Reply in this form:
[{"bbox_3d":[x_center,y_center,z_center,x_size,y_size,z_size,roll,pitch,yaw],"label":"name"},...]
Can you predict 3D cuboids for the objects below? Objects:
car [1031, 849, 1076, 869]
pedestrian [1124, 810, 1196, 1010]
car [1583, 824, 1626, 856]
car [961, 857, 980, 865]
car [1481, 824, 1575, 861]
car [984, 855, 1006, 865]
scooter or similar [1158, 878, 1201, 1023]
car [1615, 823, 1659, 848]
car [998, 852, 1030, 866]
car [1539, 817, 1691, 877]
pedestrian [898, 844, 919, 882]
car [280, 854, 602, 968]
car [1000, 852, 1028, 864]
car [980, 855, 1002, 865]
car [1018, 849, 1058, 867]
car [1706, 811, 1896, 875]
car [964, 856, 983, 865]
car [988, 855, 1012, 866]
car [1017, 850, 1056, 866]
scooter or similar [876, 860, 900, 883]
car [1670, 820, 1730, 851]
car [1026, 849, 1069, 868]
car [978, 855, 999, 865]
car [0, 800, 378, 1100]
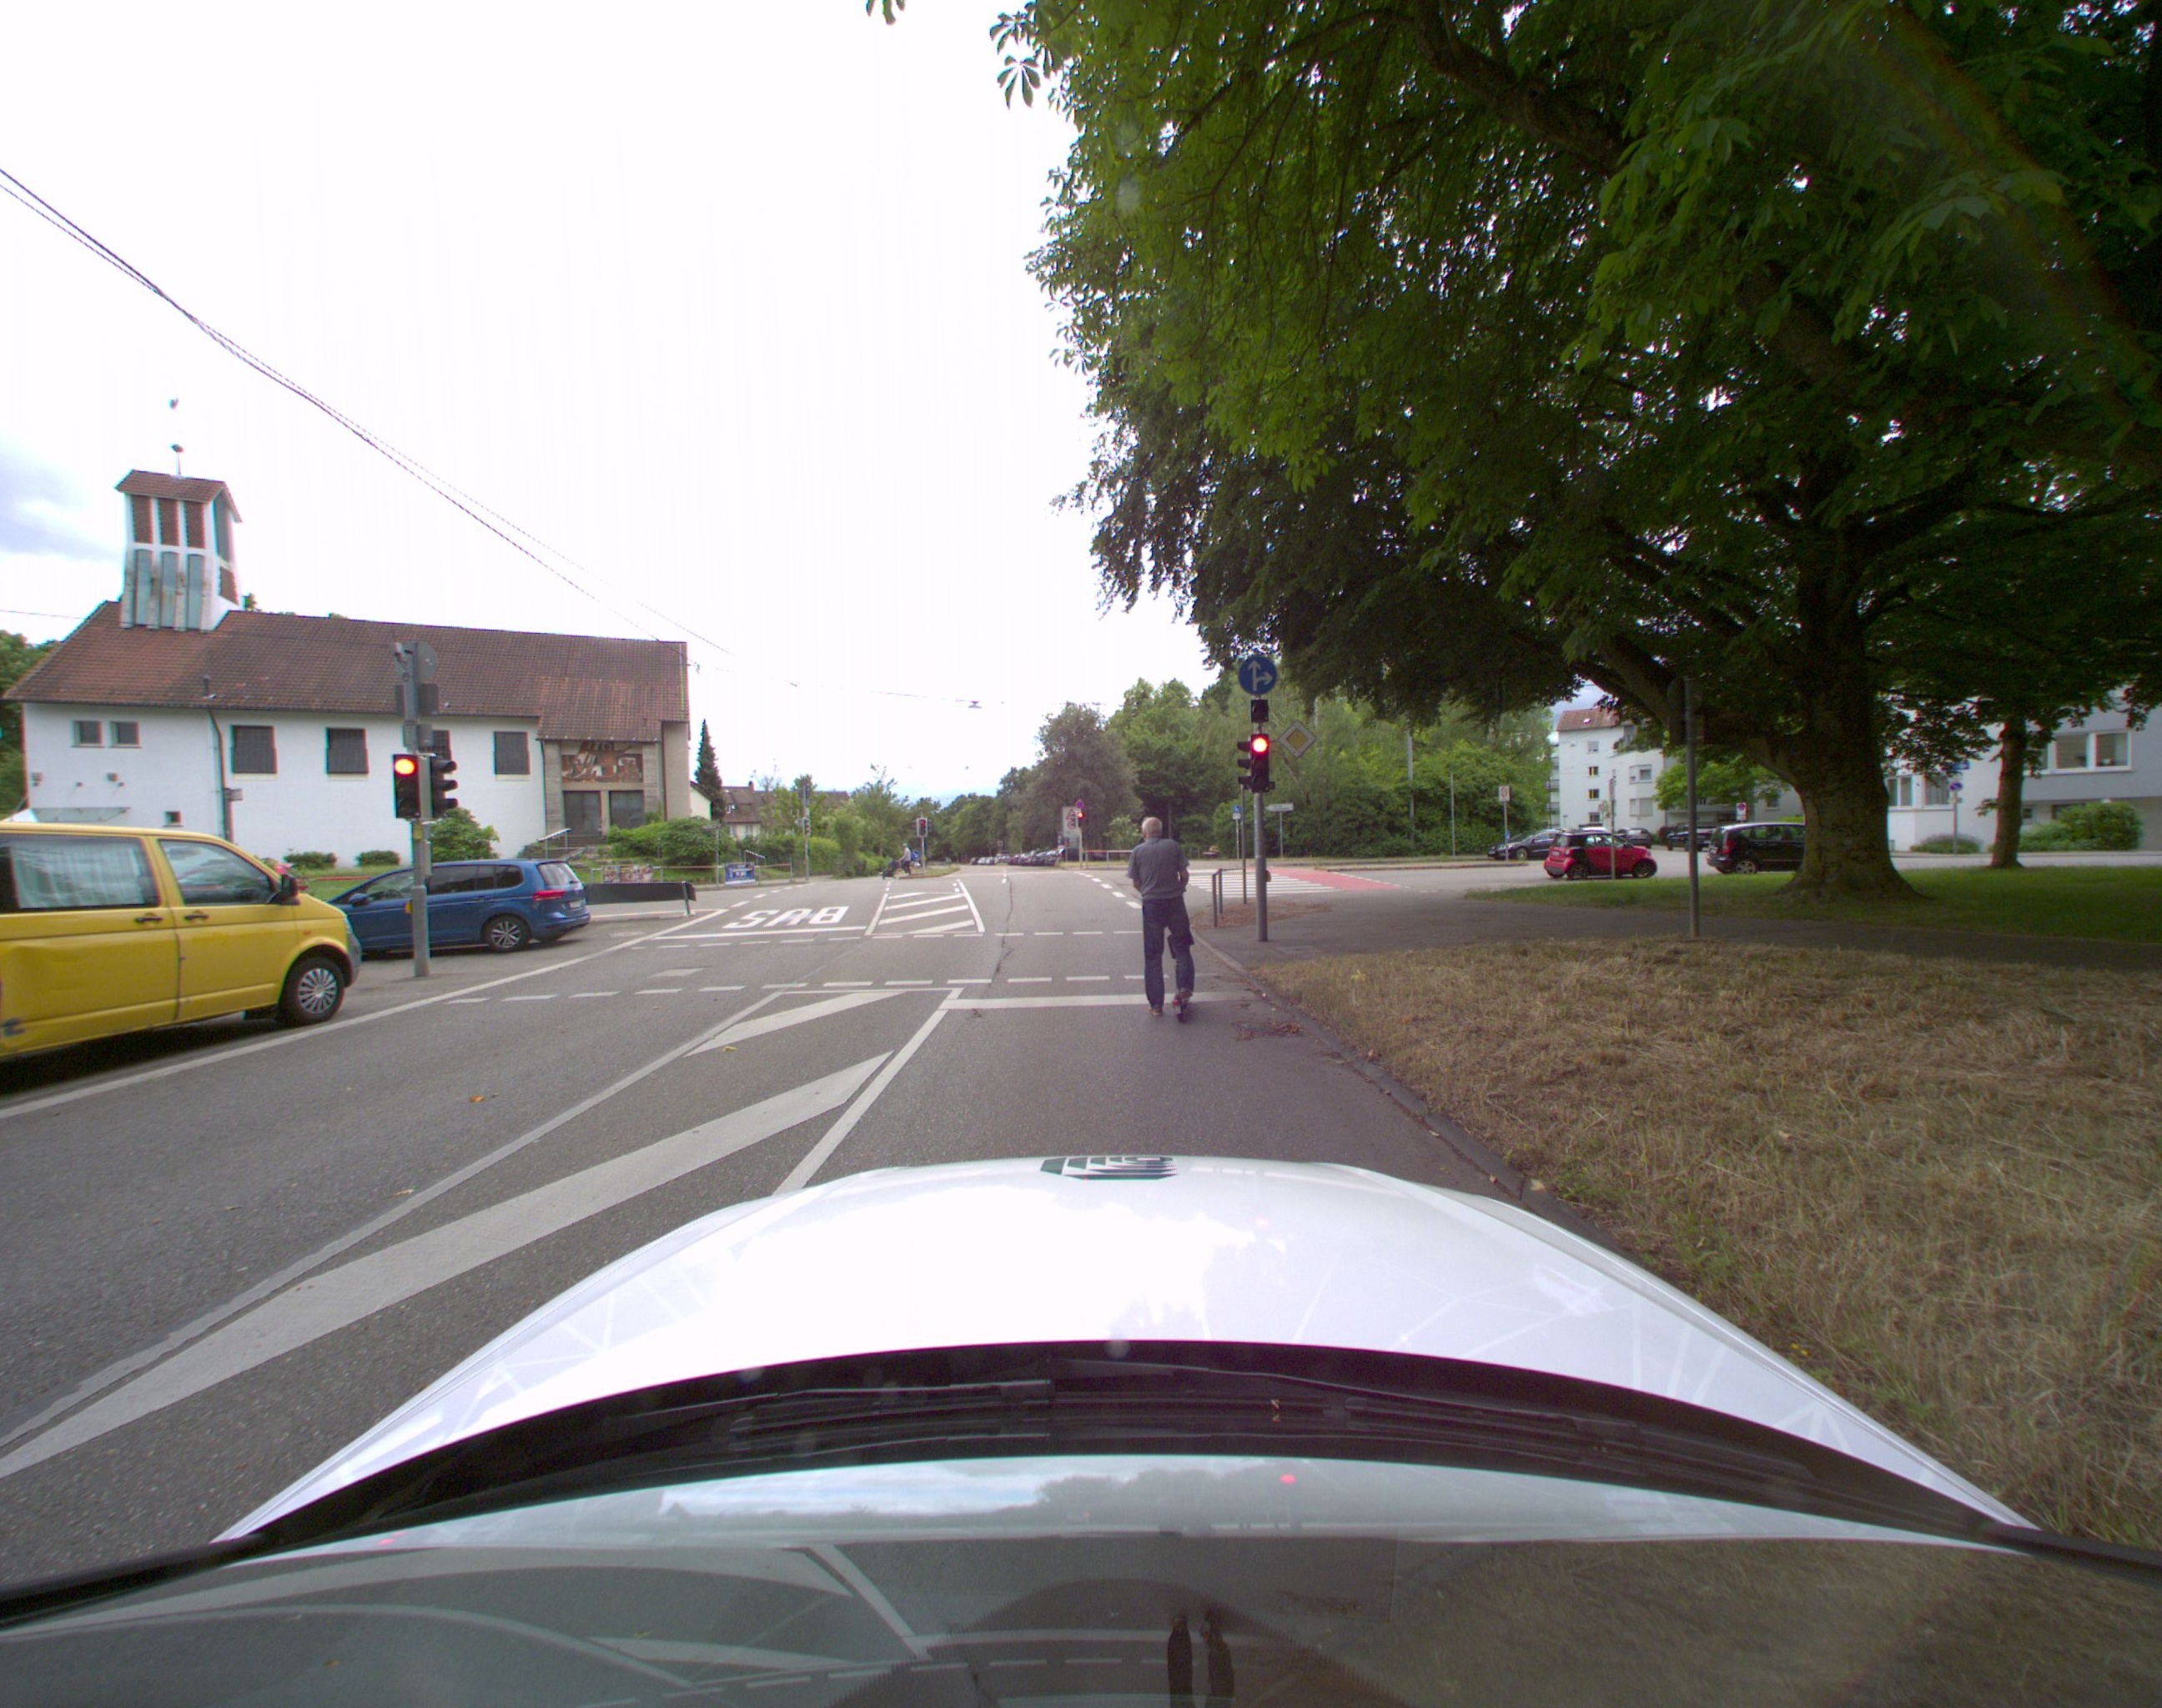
[{"bbox_3d":[-2.579,0.460,76.995,3.857,1.610,1.715,-3,0,-22],"label":"car"},{"bbox_3d":[0.750,0.515,7.661,0.569,1.813,0.421,-2,0,10],"label":"pedestrian"},{"bbox_3d":[28.793,-0.792,44.878,1.706,1.610,3.878,-3,1,30],"label":"car"},{"bbox_3d":[-24.206,1.541,178.799,3.856,1.610,1.716,-3,0,-21],"label":"car"},{"bbox_3d":[21.117,-0.564,38.587,3.498,1.530,1.732,-3,0,8],"label":"car"},{"bbox_3d":[-16.324,1.173,154.691,3.856,1.610,1.716,-3,0,-21],"label":"car"},{"bbox_3d":[0.920,0.835,7.482,0.280,1.178,1.180,-2,0,10],"label":"scooter or similar"},{"bbox_3d":[38.963,-1.279,57.121,1.707,1.610,3.875,-3,1,22],"label":"car"},{"bbox_3d":[-9.035,0.681,109.340,3.856,1.610,1.716,-3,0,-21],"label":"car"},{"bbox_3d":[16.529,-0.213,25.344,3.499,1.610,1.732,-3,0,7],"label":"car"},{"bbox_3d":[-8.766,0.459,41.378,0.883,1.862,0.573,-2,0,-6],"label":"pedestrian"},{"bbox_3d":[-11.062,0.910,14.415,3.992,1.610,1.810,-3,0,-14],"label":"car"},{"bbox_3d":[-10.107,0.634,122.344,3.856,1.610,1.716,-3,0,-21],"label":"car"},{"bbox_3d":[-17.301,1.136,156.850,3.856,1.610,1.716,-3,0,-21],"label":"car"},{"bbox_3d":[-4.587,0.423,86.942,3.856,1.610,1.716,-3,0,-21],"label":"car"},{"bbox_3d":[20.836,-0.301,23.786,3.805,1.610,1.739,-3,1,27],"label":"car"},{"bbox_3d":[-23.293,1.449,176.438,3.856,1.610,1.716,-3,0,-21],"label":"car"},{"bbox_3d":[-14.309,1.144,143.330,3.856,1.610,1.716,-3,0,-21],"label":"car"},{"bbox_3d":[-4.919,0.430,89.364,3.856,1.610,1.716,-3,0,-21],"label":"car"},{"bbox_3d":[-9.752,0.878,41.164,1.110,1.081,0.574,-2,0,-18],"label":"scooter or similar"},{"bbox_3d":[35.576,-1.072,46.911,1.707,1.610,3.875,-3,1,22],"label":"car"},{"bbox_3d":[-3.266,0.471,79.555,3.856,1.610,1.716,-3,0,-21],"label":"car"},{"bbox_3d":[-18.127,1.142,159.442,3.856,1.610,1.716,-3,0,-21],"label":"car"},{"bbox_3d":[-8.298,0.677,6.329,1.880,2.013,4.558,-2,0,-5],"label":"car"}]
